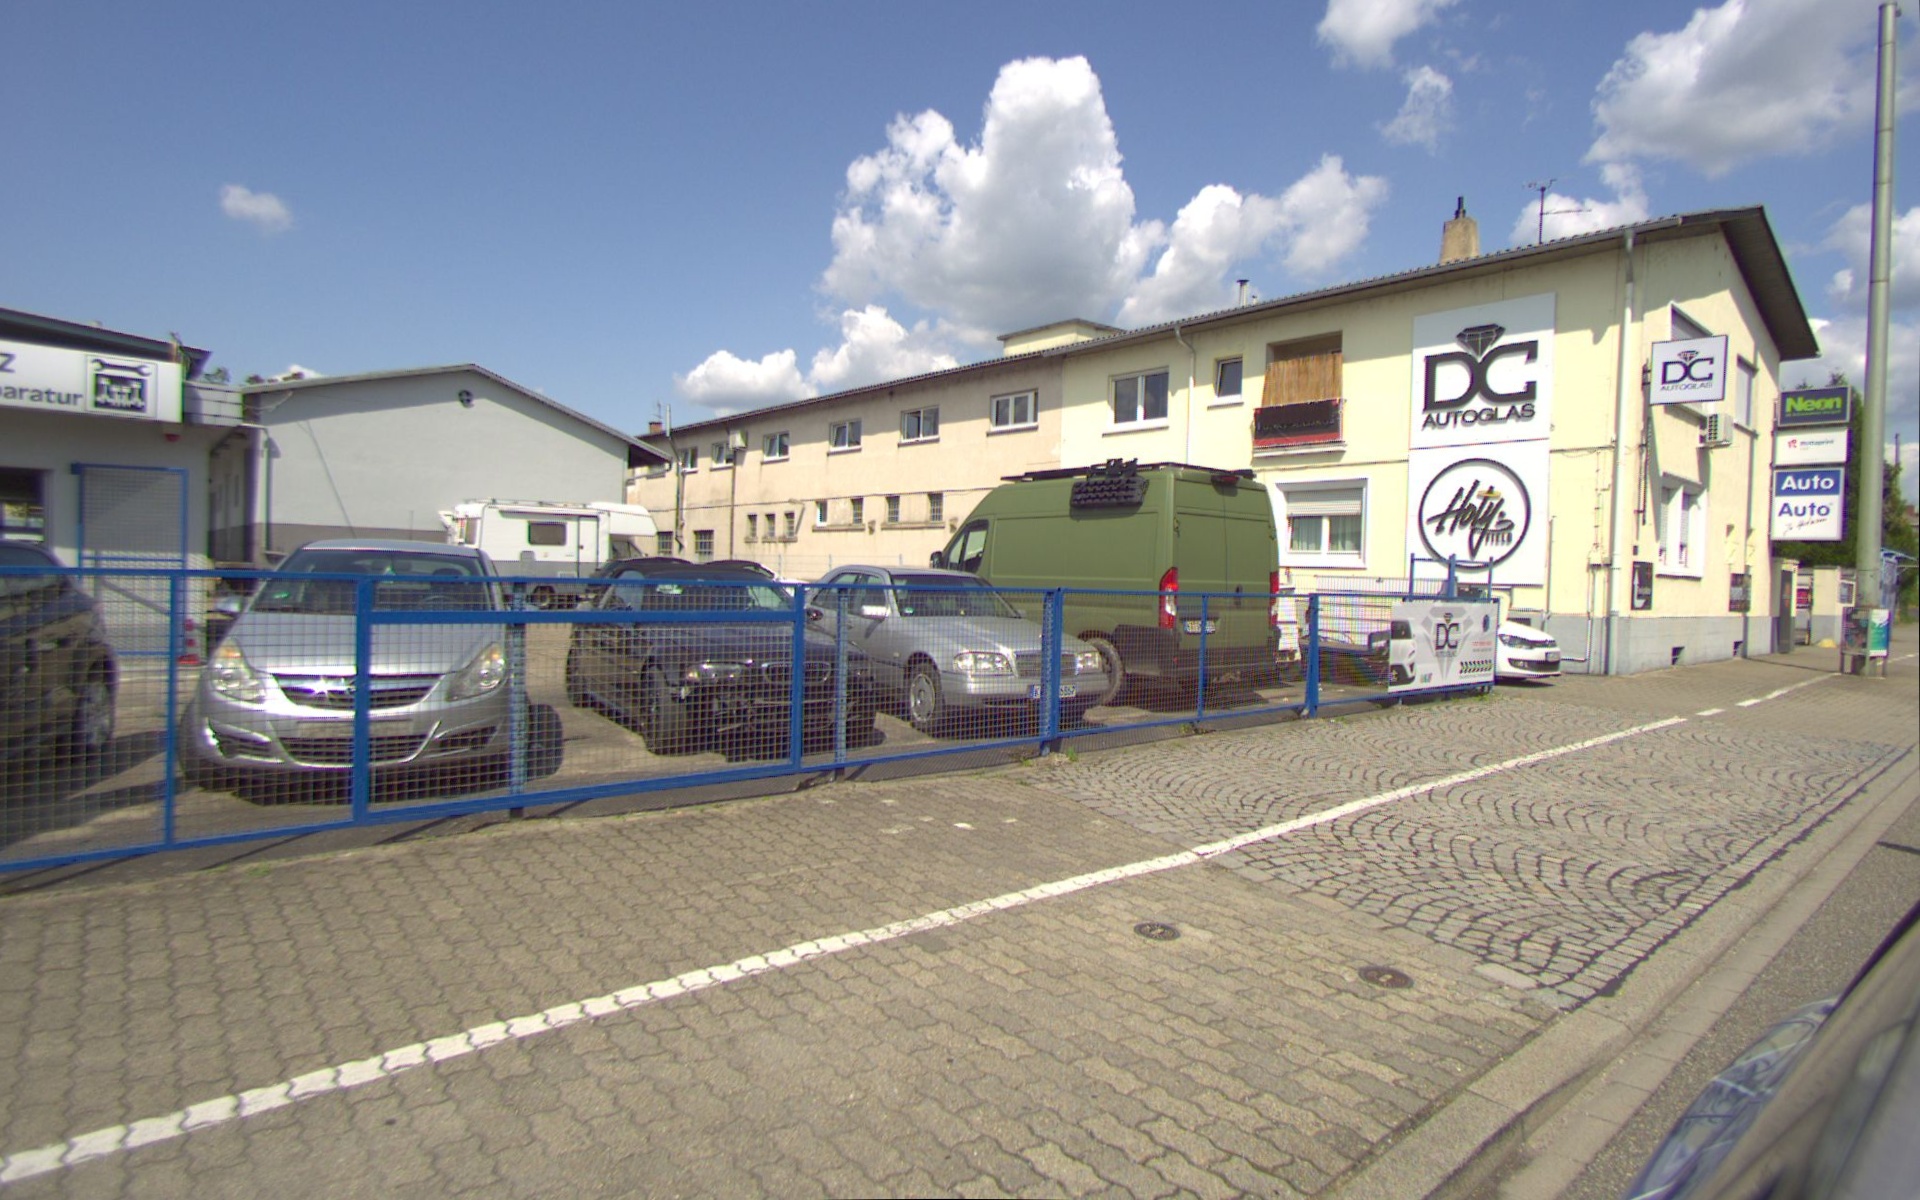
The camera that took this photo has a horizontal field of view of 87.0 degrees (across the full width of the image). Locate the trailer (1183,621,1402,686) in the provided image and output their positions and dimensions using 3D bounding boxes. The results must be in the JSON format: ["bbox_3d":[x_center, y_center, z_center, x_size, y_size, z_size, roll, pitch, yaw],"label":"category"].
[{"bbox_3d":[4.750,0.729,14.645,1.307,0.674,2.730,0,2,-42],"label":"trailer"}]

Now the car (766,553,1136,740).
[{"bbox_3d":[-0.338,0.290,10.198,1.679,1.470,4.292,1,2,-33],"label":"car"}]

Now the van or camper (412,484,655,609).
[{"bbox_3d":[-11.302,-1.323,27.106,5.556,3.002,2.272,0,2,-42],"label":"van or camper"}]

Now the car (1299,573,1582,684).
[{"bbox_3d":[7.535,0.365,16.173,1.527,1.481,3.775,1,2,-39],"label":"car"}]

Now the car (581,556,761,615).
[{"bbox_3d":[-7.305,-0.357,25.806,4.112,1.378,1.645,0,2,-41],"label":"car"}]

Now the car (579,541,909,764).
[{"bbox_3d":[-2.128,0.277,8.892,1.737,1.470,4.128,1,2,-28],"label":"car"}]

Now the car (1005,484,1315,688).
[{"bbox_3d":[2.633,-0.243,14.229,1.557,2.436,4.208,1,2,-39],"label":"car"}]

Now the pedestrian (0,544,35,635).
[{"bbox_3d":[-13.160,-0.155,13.877,0.652,1.224,0.566,1,1,-39],"label":"pedestrian"}]

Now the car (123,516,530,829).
[{"bbox_3d":[-3.898,0.284,6.836,1.736,1.470,3.778,1,2,-24],"label":"car"}]

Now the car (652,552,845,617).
[{"bbox_3d":[-4.843,-0.346,23.543,4.112,1.378,1.645,0,2,-41],"label":"car"}]

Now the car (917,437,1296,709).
[{"bbox_3d":[1.588,-0.346,12.250,2.075,2.675,4.208,1,2,-39],"label":"car"}]

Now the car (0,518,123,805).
[{"bbox_3d":[-5.642,0.307,4.861,1.606,1.470,3.701,1,2,-25],"label":"car"}]
